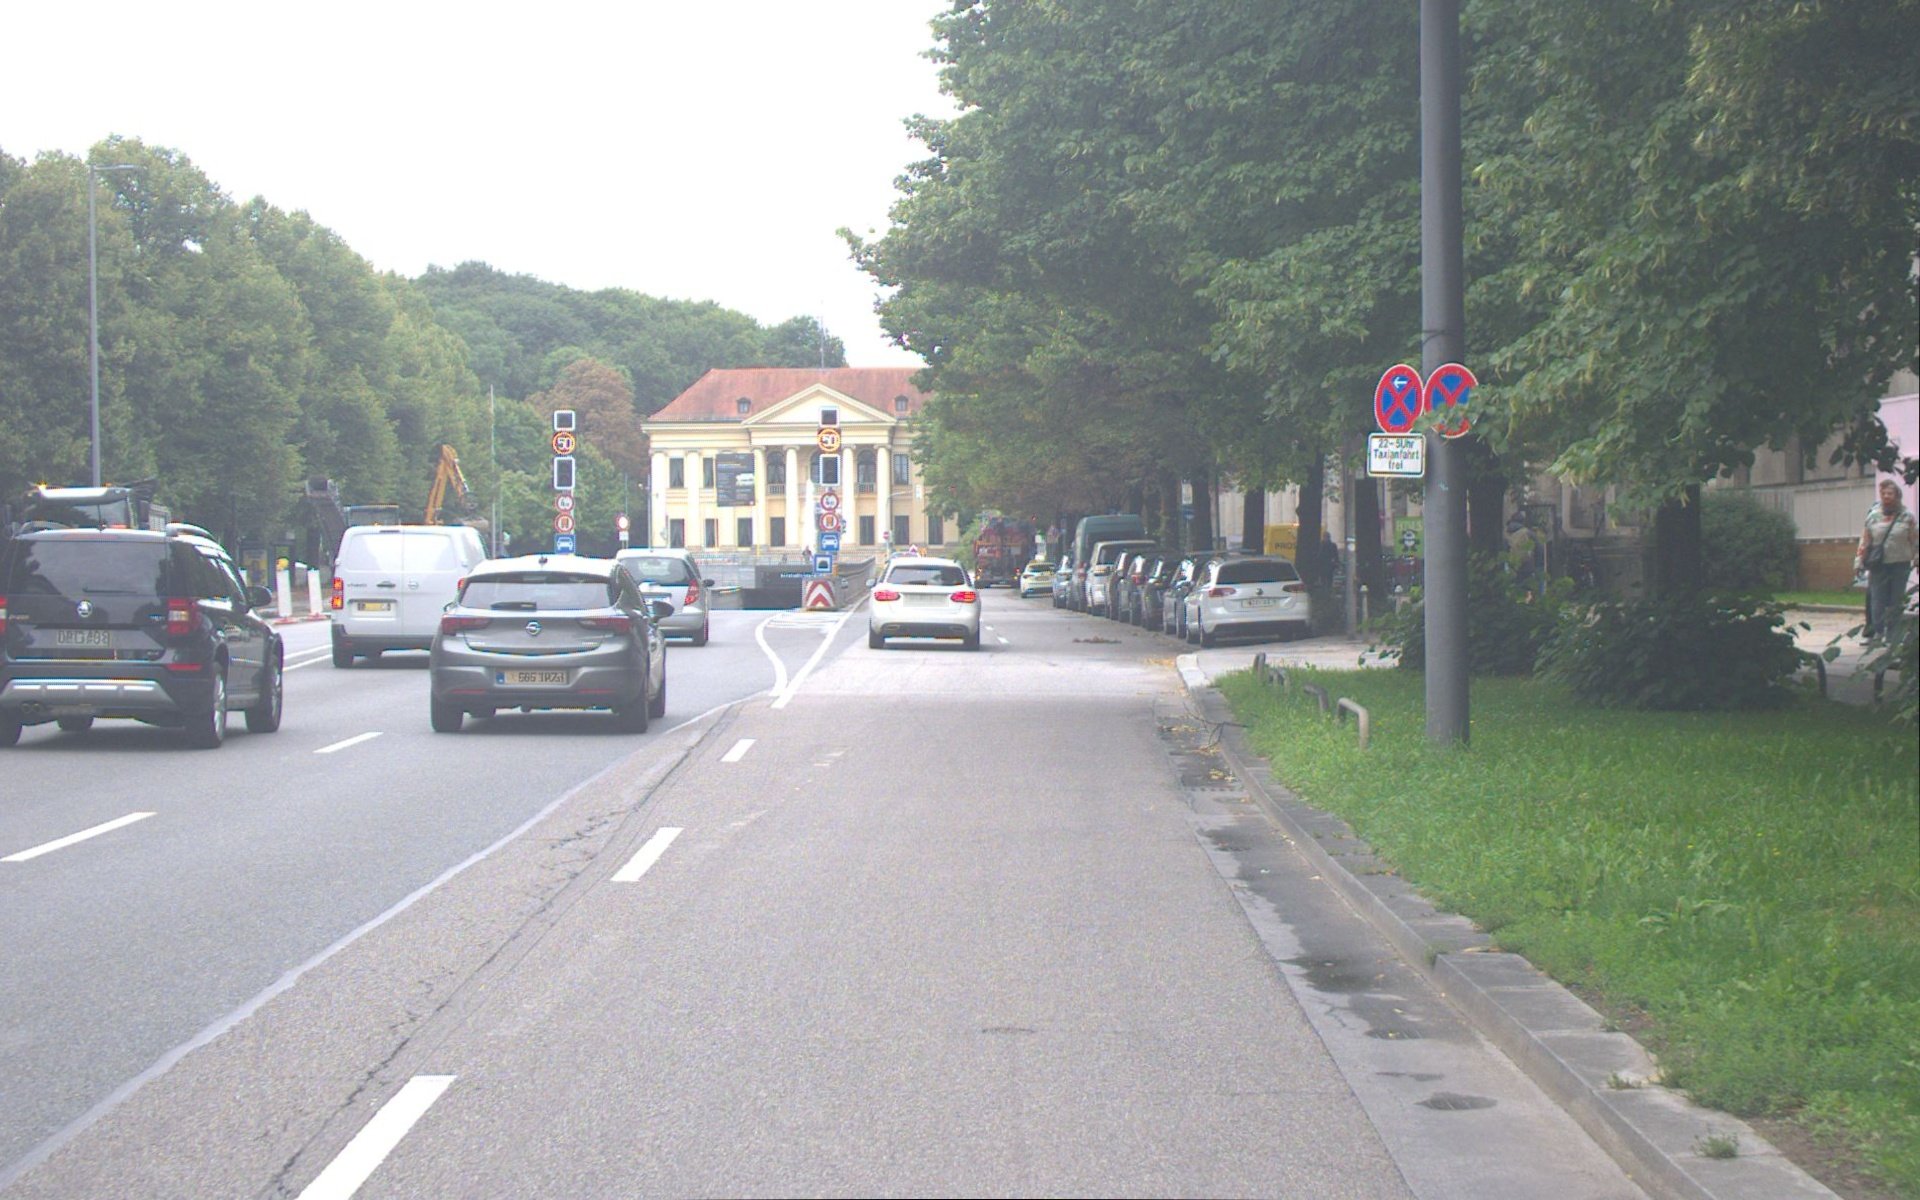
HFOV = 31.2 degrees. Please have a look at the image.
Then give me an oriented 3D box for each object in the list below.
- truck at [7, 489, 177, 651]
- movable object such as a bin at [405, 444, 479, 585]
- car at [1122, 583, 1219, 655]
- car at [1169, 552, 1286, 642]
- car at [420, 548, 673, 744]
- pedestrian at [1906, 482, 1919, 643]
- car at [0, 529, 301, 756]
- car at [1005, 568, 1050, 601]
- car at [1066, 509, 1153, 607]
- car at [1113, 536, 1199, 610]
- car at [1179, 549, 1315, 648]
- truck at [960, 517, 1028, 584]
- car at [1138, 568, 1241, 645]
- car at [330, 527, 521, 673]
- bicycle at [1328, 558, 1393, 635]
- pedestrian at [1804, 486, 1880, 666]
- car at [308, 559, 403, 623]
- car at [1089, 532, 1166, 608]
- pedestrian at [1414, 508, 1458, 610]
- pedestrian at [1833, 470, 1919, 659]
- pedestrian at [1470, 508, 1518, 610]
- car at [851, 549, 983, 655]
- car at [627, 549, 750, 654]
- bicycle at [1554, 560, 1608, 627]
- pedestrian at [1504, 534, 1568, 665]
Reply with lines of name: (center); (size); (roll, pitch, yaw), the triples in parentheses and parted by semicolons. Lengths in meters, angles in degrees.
truck: (-19.099, -0.689, 76.079); (2.840, 3.345, 8.767); (1, 1, -9)
movable object such as a bin: (-24.399, -3.998, 162.026); (2.699, 6.488, 5.176); (1, 1, -1)
car: (4.535, 0.384, 74.475); (1.822, 1.459, 4.028); (-1, 1, 0)
car: (4.792, -0.078, 62.059); (1.724, 1.544, 4.585); (-1, 1, 0)
car: (-3.475, 0.345, 29.508); (1.710, 1.546, 4.000); (1, 1, -1)
pedestrian: (11.089, -0.437, 38.421); (0.594, 1.803, 0.724); (-3, 1, -25)
car: (-6.413, 0.293, 27.051); (1.722, 1.631, 4.205); (-1, 0, -1)
car: (2.780, -0.662, 142.010); (1.724, 1.319, 4.028); (-1, 1, 0)
car: (4.124, -1.171, 95.270); (1.993, 2.634, 4.878); (1, 1, -2)
car: (4.597, -0.642, 81.023); (1.724, 1.659, 4.590); (-1, 1, 0)
car: (4.717, -0.050, 57.046); (1.827, 1.544, 4.751); (-1, 1, 0)
truck: (1.725, -2.559, 179.185); (3.325, 3.355, 8.663); (1, 1, -1)
car: (4.588, 0.111, 69.166); (1.724, 1.459, 4.776); (-1, 1, 0)
car: (-7.141, -0.018, 46.372); (1.898, 1.841, 4.956); (-1, 0, -1)
bicycle: (6.543, -0.067, 56.292); (0.628, 1.227, 2.619); (1, 1, -3)
pedestrian: (10.054, -0.279, 39.208); (0.594, 2.007, 0.724); (-3, 1, 0)
car: (-15.701, -0.256, 89.480); (1.993, 1.590, 4.001); (-1, 1, -4)
car: (4.276, -0.774, 88.250); (1.724, 1.861, 4.028); (-1, 1, 0)
pedestrian: (8.980, -0.780, 64.859); (0.699, 1.903, 0.771); (1, 1, 0)
pedestrian: (10.074, -0.388, 37.578); (0.763, 2.007, 0.776); (-3, 1, 0)
pedestrian: (10.080, -0.782, 64.909); (0.764, 1.903, 0.771); (1, 1, 0)
car: (-0.734, 0.008, 55.827); (1.779, 1.639, 4.001); (1, 1, -6)
car: (-4.445, -0.006, 56.674); (1.779, 1.648, 4.000); (1, 1, -1)
bicycle: (13.408, -0.159, 74.271); (0.699, 1.410, 2.299); (-1, 1, -1)
pedestrian: (8.437, -0.013, 50.403); (0.779, 1.903, 0.771); (1, 1, 0)
